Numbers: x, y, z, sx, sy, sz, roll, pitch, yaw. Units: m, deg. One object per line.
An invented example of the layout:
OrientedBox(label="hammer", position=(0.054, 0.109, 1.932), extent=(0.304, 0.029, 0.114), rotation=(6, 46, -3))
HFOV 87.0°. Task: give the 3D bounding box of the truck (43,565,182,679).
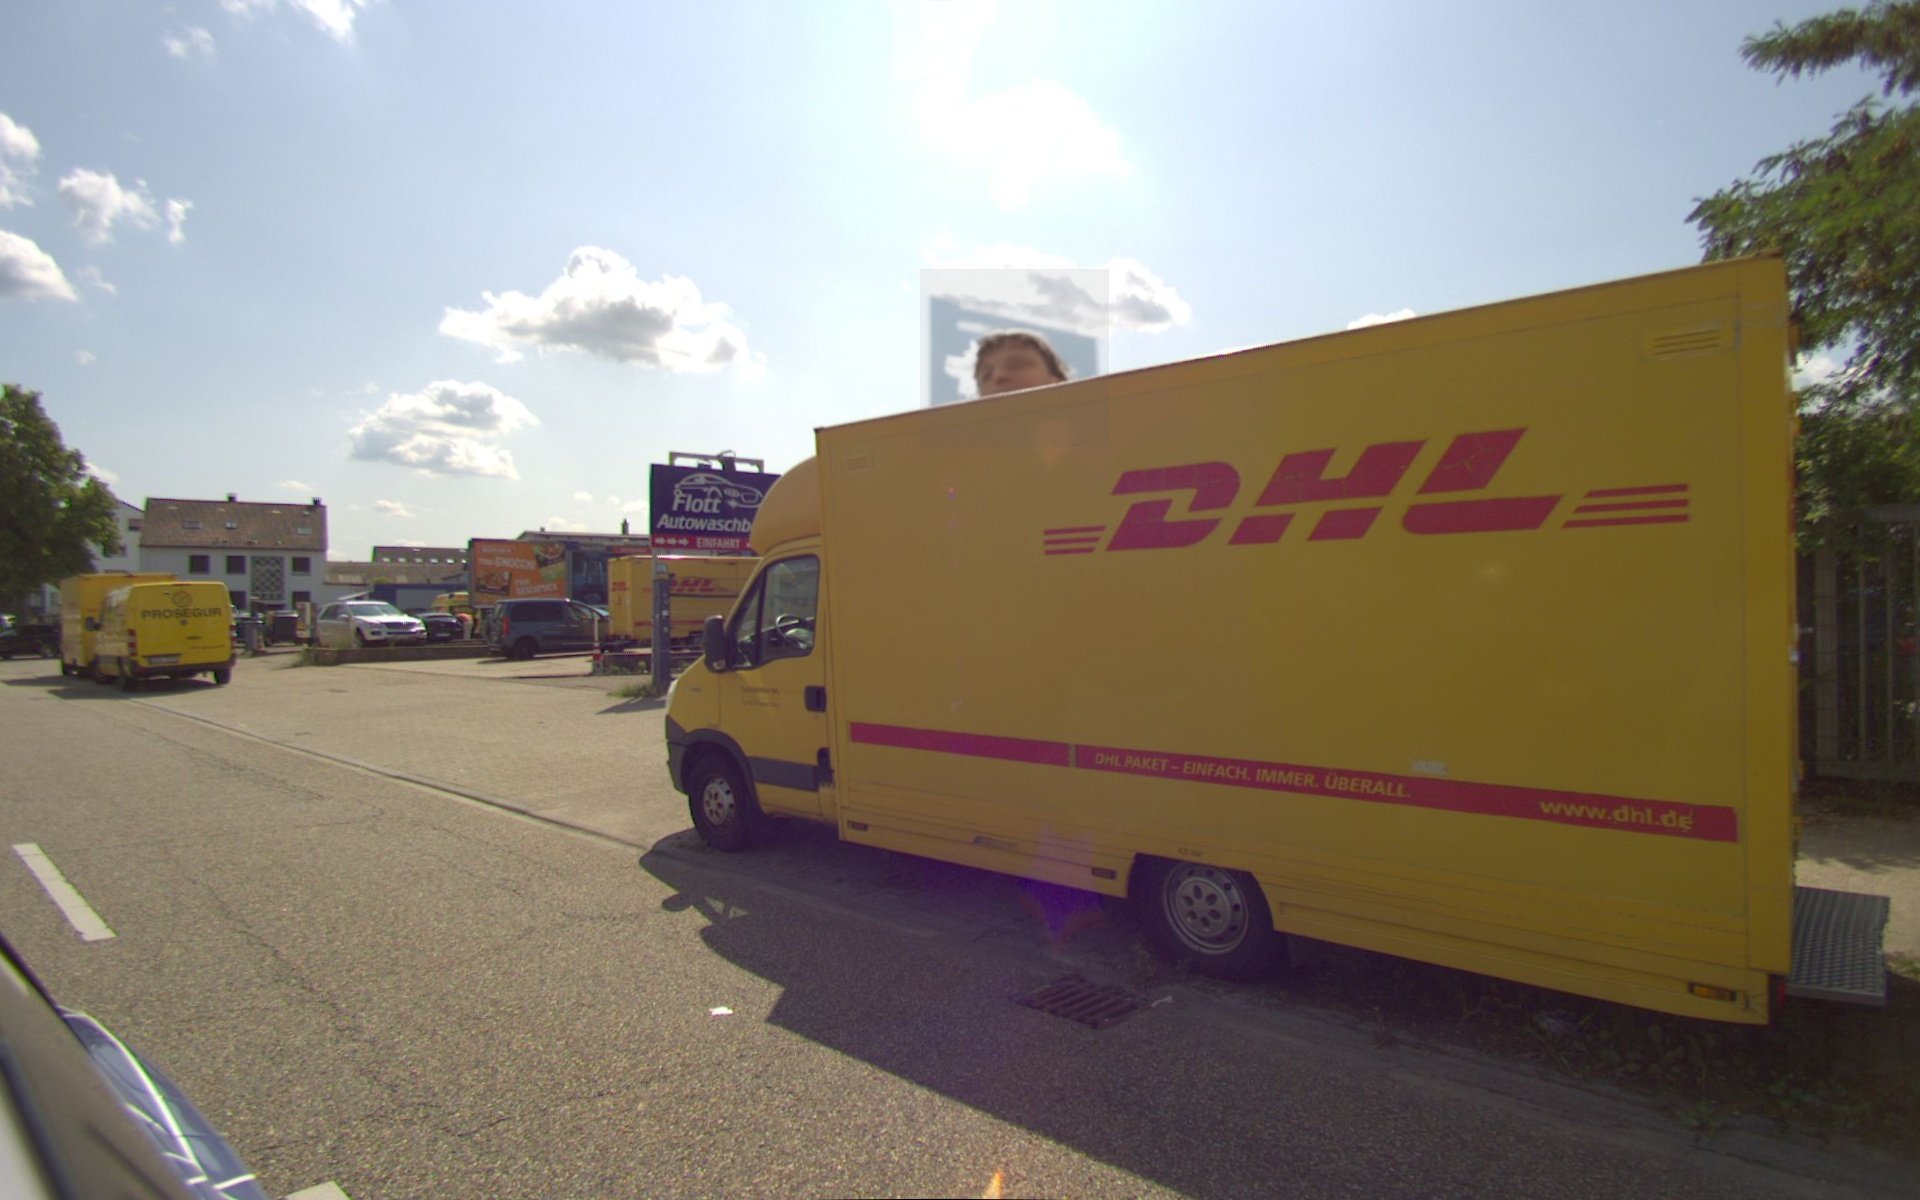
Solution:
OrientedBox(label="truck", position=(-24.205, 0.581, 28.767), extent=(7.070, 2.878, 2.196), rotation=(-1, 0, 44))

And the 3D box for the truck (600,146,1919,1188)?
OrientedBox(label="truck", position=(0.808, 0.183, 5.901), extent=(7.171, 2.876, 2.245), rotation=(0, 1, 41))

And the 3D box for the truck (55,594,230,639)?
OrientedBox(label="truck", position=(-56.068, 1.156, 69.642), extent=(9.150, 2.878, 2.722), rotation=(1, -2, -44))

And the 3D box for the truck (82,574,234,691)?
OrientedBox(label="truck", position=(-19.071, 0.729, 23.944), extent=(6.065, 2.432, 1.972), rotation=(-1, -1, 43))

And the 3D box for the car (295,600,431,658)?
OrientedBox(label="car", position=(-18.785, 0.894, 31.786), extent=(4.694, 1.718, 1.814), rotation=(-1, -1, 33))

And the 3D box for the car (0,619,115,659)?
OrientedBox(label="car", position=(-36.961, 1.558, 40.395), extent=(4.518, 1.405, 2.005), rotation=(-2, 1, -11))

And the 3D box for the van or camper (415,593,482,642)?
OrientedBox(label="van or camper", position=(-27.146, 0.955, 53.612), extent=(1.969, 2.494, 5.369), rotation=(0, -2, -40))

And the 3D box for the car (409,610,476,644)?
OrientedBox(label="car", position=(-21.268, 1.140, 41.531), extent=(1.867, 1.300, 3.758), rotation=(0, -2, -37))

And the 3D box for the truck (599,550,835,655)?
OrientedBox(label="truck", position=(-7.359, -0.002, 31.060), extent=(6.511, 2.871, 2.535), rotation=(-3, 0, -36))

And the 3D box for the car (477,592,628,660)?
OrientedBox(label="car", position=(-12.400, 0.754, 30.893), extent=(3.878, 1.823, 1.859), rotation=(-3, 1, -39))

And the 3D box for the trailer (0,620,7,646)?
OrientedBox(label="trailer", position=(-49.312, 1.698, 50.814), extent=(4.507, 1.299, 1.743), rotation=(-1, 2, 42))
